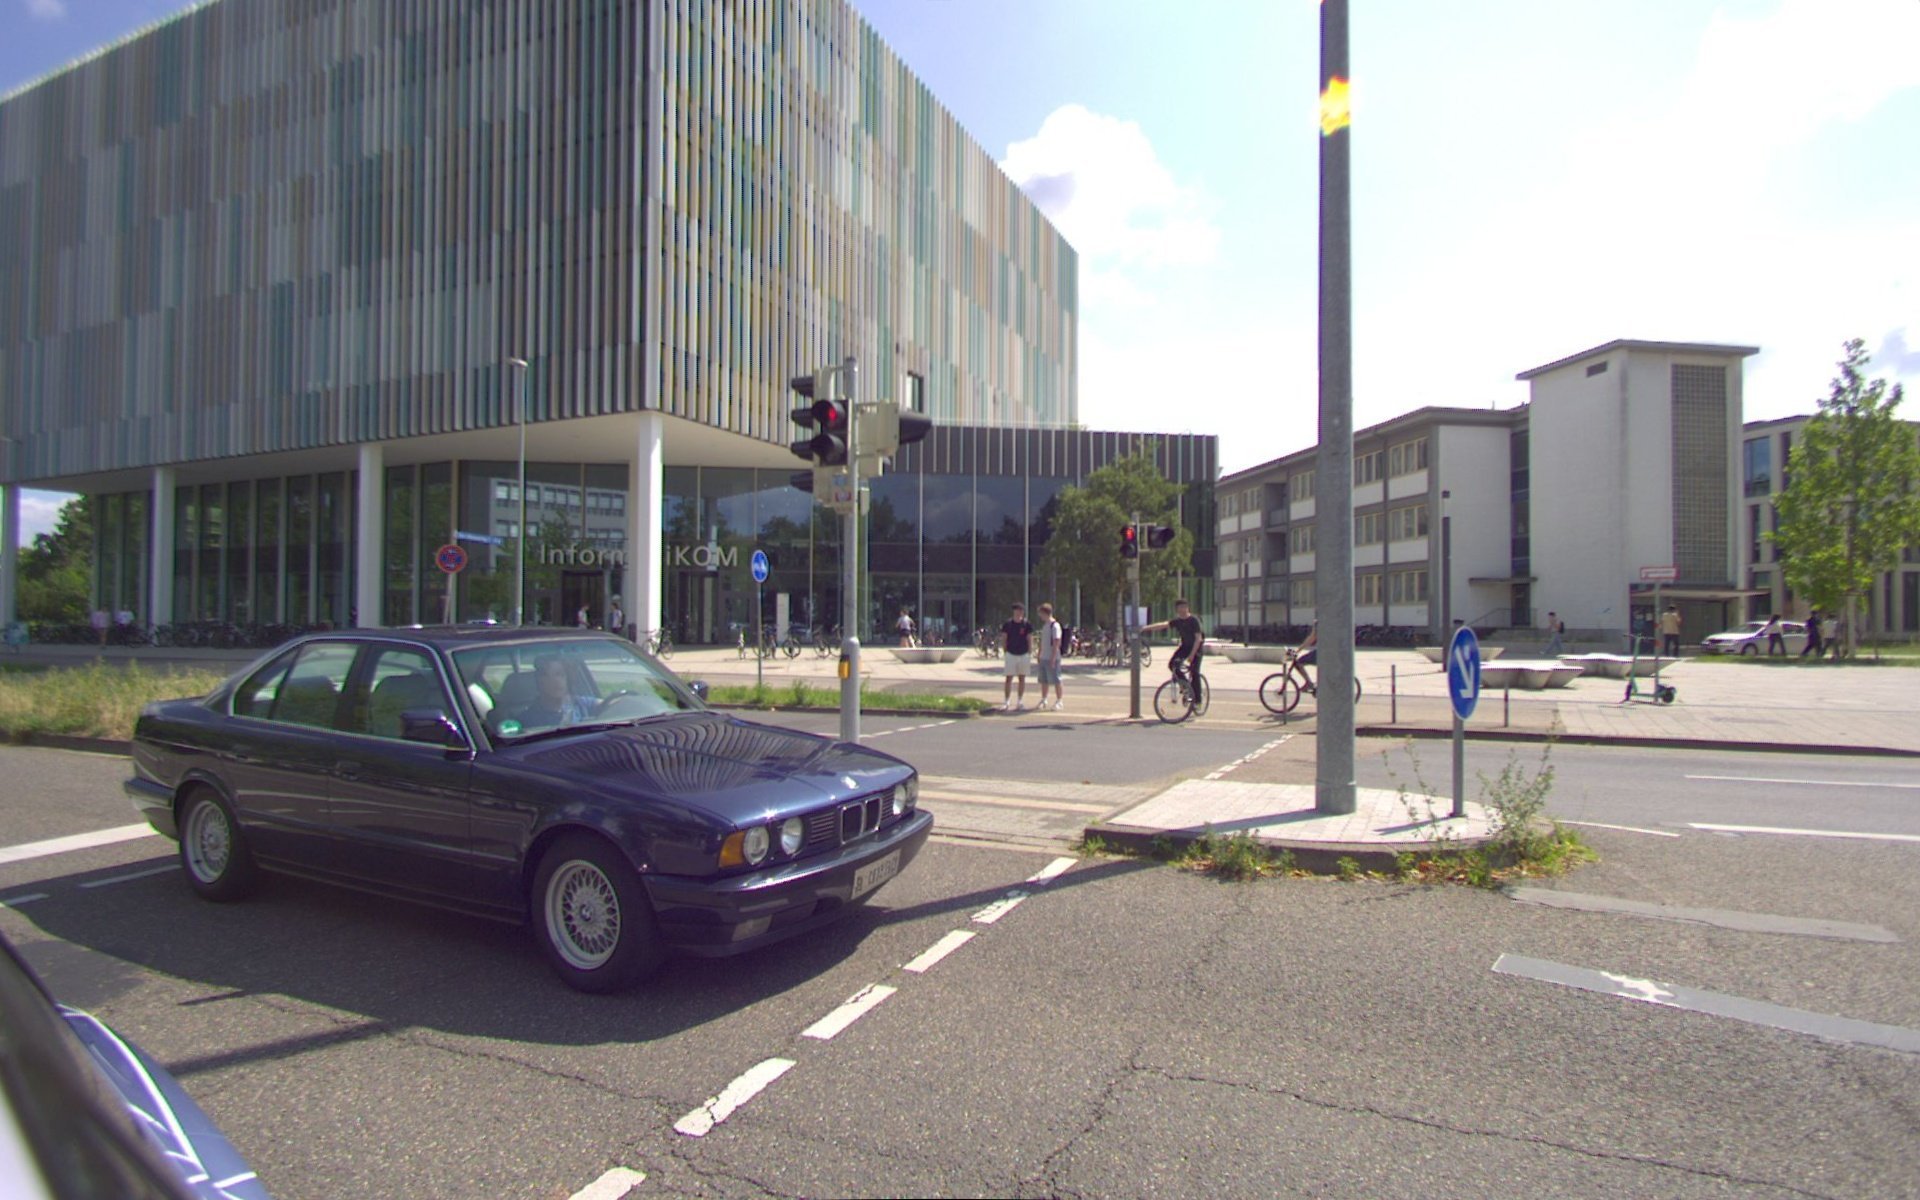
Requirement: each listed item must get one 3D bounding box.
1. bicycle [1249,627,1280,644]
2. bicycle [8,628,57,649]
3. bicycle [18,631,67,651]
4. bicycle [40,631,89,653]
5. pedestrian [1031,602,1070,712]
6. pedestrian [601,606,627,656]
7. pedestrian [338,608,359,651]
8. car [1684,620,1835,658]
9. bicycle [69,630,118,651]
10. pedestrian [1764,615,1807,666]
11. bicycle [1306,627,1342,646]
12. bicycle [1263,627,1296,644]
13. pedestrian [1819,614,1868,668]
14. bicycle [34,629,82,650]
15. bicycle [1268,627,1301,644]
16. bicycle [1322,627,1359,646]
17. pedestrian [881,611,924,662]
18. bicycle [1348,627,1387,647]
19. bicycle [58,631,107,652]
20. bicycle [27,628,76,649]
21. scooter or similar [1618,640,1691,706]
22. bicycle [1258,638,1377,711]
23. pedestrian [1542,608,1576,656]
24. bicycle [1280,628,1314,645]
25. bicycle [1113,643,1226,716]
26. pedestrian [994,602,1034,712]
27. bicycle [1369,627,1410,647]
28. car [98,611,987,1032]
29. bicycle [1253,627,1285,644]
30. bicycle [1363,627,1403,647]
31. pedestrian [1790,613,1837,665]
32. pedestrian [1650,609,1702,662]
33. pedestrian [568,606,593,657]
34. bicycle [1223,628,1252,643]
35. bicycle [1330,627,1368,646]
[{"bbox_3d":[18.617,2.161,61.833,1.747,0.962,0.529,0,0,-3],"label":"bicycle"},{"bbox_3d":[-46.580,1.928,50.834,0.430,0.962,1.770,-1,0,24],"label":"bicycle"},{"bbox_3d":[-45.756,2.035,50.485,0.430,0.962,1.770,-1,0,24],"label":"bicycle"},{"bbox_3d":[-43.649,2.037,49.330,0.430,0.962,1.770,-1,0,24],"label":"bicycle"},{"bbox_3d":[1.555,0.957,17.302,0.571,1.856,0.413,0,-1,20],"label":"pedestrian"},{"bbox_3d":[-13.043,1.170,38.139,0.676,1.856,0.683,-1,-1,33],"label":"pedestrian"},{"bbox_3d":[-26.469,1.261,43.801,0.550,1.856,0.559,0,-1,17],"label":"pedestrian"},{"bbox_3d":[30.805,1.479,39.069,4.424,1.316,2.003,-1,0,-7],"label":"car"},{"bbox_3d":[-41.370,1.928,48.350,0.430,0.962,1.770,-1,0,24],"label":"bicycle"},{"bbox_3d":[29.565,1.437,36.254,0.831,1.803,0.815,0,-2,-5],"label":"pedestrian"},{"bbox_3d":[19.746,1.976,54.937,1.747,0.962,0.529,0,0,-3],"label":"bicycle"},{"bbox_3d":[18.840,2.100,59.651,1.747,0.962,0.529,0,0,-3],"label":"bicycle"},{"bbox_3d":[30.099,1.379,34.480,0.831,1.803,0.867,0,-2,-5],"label":"pedestrian"},{"bbox_3d":[-44.473,1.929,49.924,0.430,0.962,1.770,-1,0,24],"label":"bicycle"},{"bbox_3d":[18.839,2.078,58.755,1.747,0.962,0.529,0,0,-3],"label":"bicycle"},{"bbox_3d":[20.234,1.949,53.795,1.747,0.962,0.529,0,0,-3],"label":"bicycle"},{"bbox_3d":[-1.924,1.201,33.794,1.009,1.663,1.172,-1,-2,25],"label":"pedestrian"},{"bbox_3d":[20.702,1.876,51.406,1.747,0.962,0.529,0,0,-3],"label":"bicycle"},{"bbox_3d":[-42.294,1.985,48.797,0.430,0.962,1.770,-1,0,24],"label":"bicycle"},{"bbox_3d":[-45.044,1.918,50.180,0.430,0.962,1.770,-1,0,24],"label":"bicycle"},{"bbox_3d":[11.966,1.239,17.468,0.397,1.075,1.152,0,-2,-3],"label":"scooter or similar"},{"bbox_3d":[5.755,1.191,16.335,1.648,1.133,0.695,0,-1,0],"label":"bicycle"},{"bbox_3d":[22.915,1.227,38.741,0.831,1.803,0.678,0,-2,-5],"label":"pedestrian"},{"bbox_3d":[19.115,2.063,57.468,1.747,0.962,0.529,0,0,-3],"label":"bicycle"},{"bbox_3d":[3.355,1.264,16.300,1.646,1.133,0.696,0,-1,-3],"label":"bicycle"},{"bbox_3d":[0.925,0.960,17.265,0.626,1.856,0.478,0,-1,11],"label":"pedestrian"},{"bbox_3d":[20.835,1.783,49.124,1.747,0.962,0.529,0,0,-3],"label":"bicycle"},{"bbox_3d":[-2.285,0.780,5.212,4.591,1.397,1.682,-1,0,27],"label":"car"},{"bbox_3d":[18.676,2.139,61.177,1.747,0.962,0.529,0,0,-3],"label":"bicycle"},{"bbox_3d":[20.950,1.831,50.119,1.747,0.962,0.529,0,0,-3],"label":"bicycle"},{"bbox_3d":[29.849,1.354,35.394,0.831,1.803,0.893,0,-2,-5],"label":"pedestrian"},{"bbox_3d":[23.218,1.153,32.803,1.298,1.664,1.309,-1,-2,38],"label":"pedestrian"},{"bbox_3d":[-14.062,1.168,37.497,0.775,1.856,0.519,0,-1,-31],"label":"pedestrian"},{"bbox_3d":[17.984,2.289,65.547,1.747,0.962,0.529,0,0,-3],"label":"bicycle"},{"bbox_3d":[20.251,1.912,52.704,1.747,0.962,0.529,0,0,-3],"label":"bicycle"}]
